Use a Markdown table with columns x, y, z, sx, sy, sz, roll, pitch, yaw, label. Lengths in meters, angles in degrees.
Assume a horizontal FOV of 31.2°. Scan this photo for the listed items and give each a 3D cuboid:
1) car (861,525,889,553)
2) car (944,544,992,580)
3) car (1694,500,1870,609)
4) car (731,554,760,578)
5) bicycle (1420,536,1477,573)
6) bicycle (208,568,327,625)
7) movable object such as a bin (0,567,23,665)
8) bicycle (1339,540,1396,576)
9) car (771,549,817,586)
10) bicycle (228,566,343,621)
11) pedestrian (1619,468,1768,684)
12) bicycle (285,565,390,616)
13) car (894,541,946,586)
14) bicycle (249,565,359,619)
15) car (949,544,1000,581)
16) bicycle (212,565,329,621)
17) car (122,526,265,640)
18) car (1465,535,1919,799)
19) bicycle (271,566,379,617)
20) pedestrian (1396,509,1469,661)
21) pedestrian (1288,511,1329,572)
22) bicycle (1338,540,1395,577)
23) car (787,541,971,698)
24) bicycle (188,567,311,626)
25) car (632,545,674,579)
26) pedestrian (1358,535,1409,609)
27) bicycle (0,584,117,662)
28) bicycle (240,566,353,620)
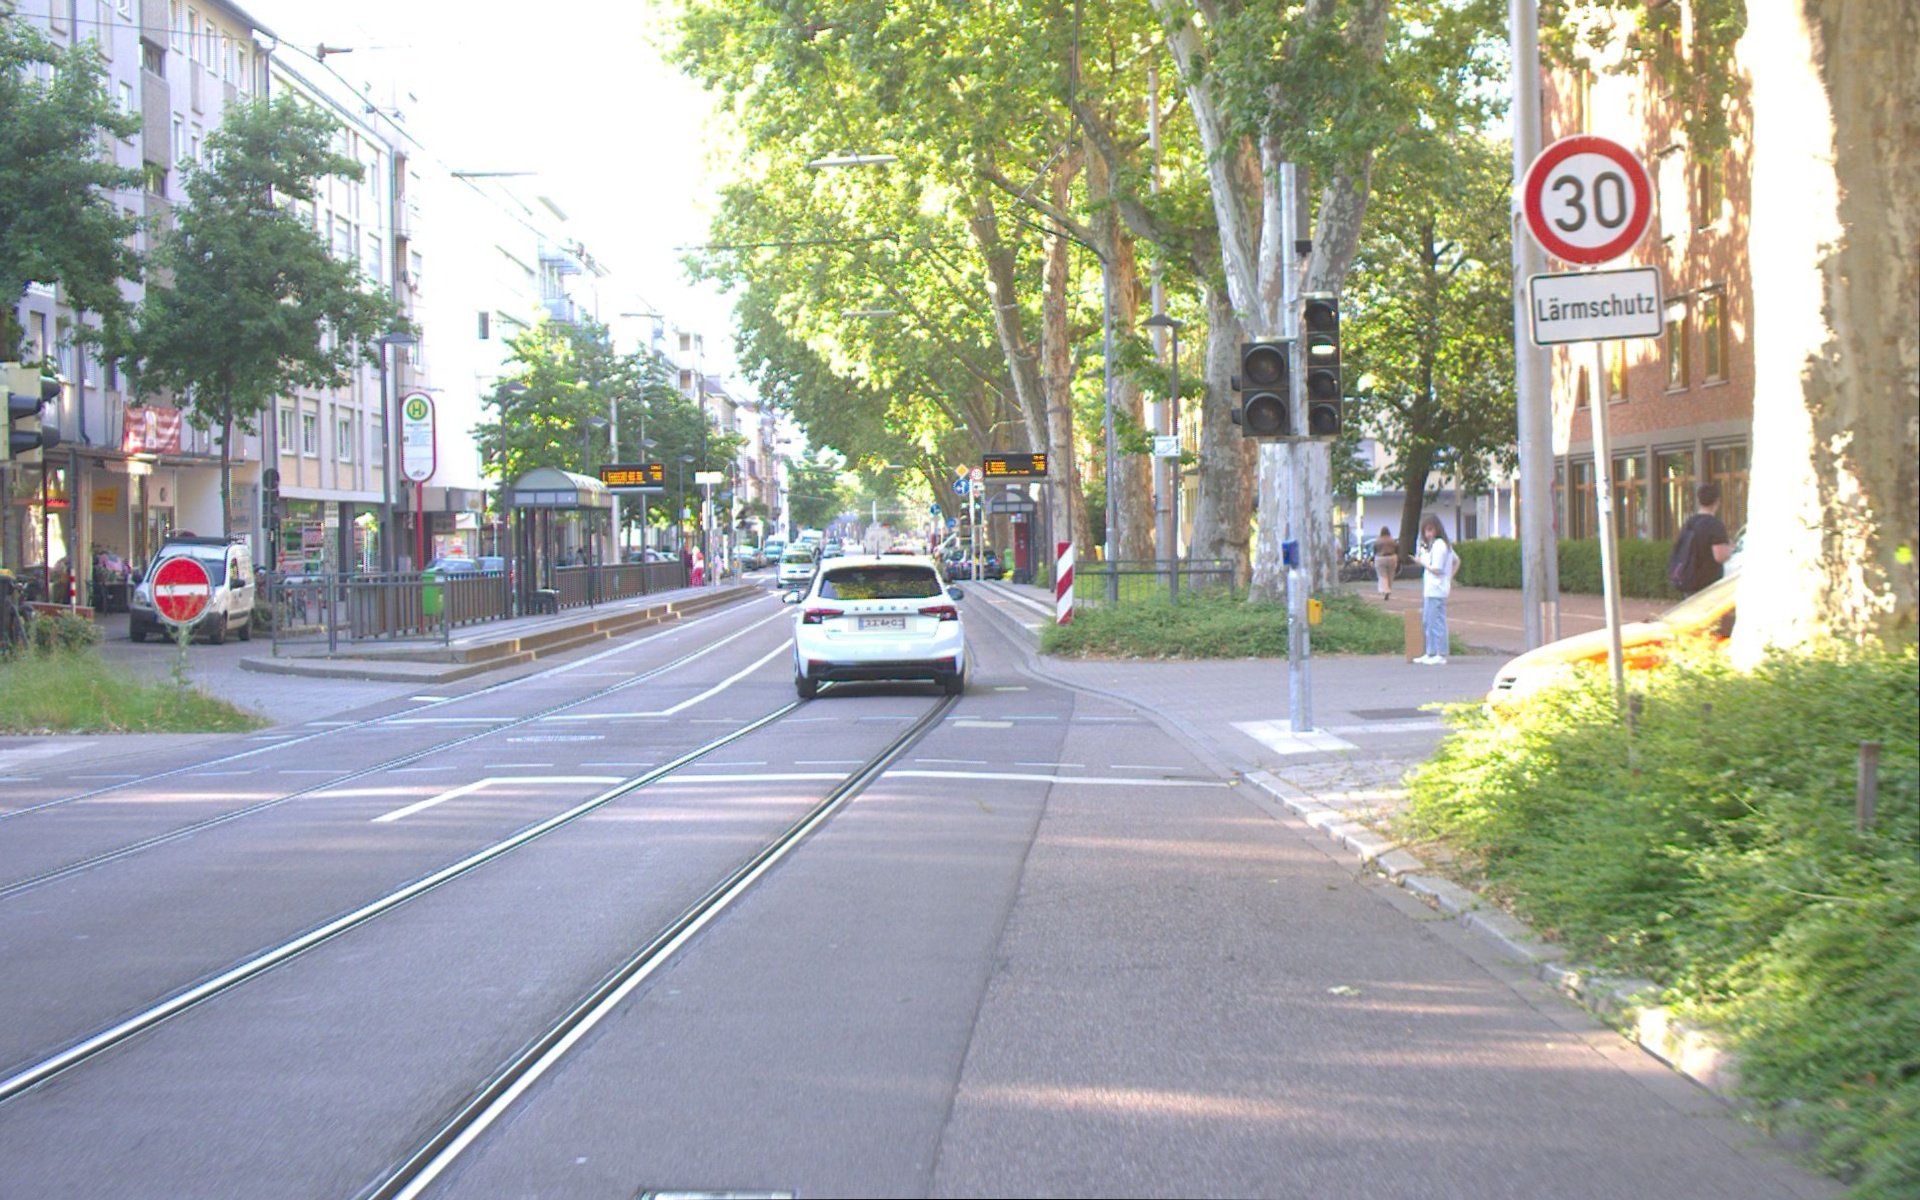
| x | y | z | sx | sy | sz | roll | pitch | yaw | label |
| --- | --- | --- | --- | --- | --- | --- | --- | --- | --- |
| -5.795 | -4.175 | 235.271 | 1.866 | 1.886 | 4.000 | -1 | 1 | -1 | car |
| 0.331 | -1.646 | 147.973 | 1.993 | 1.448 | 4.000 | -1 | 1 | -1 | car |
| 11.937 | -0.669 | 50.083 | 1.600 | 1.490 | 3.417 | -1 | 1 | -2 | car |
| -14.724 | -2.347 | 236.423 | 1.788 | 1.508 | 4.000 | -1 | 1 | -1 | car |
| 14.225 | -1.312 | 100.086 | 1.567 | 1.034 | 0.479 | -1 | 1 | 21 | bicycle |
| -13.942 | -0.079 | 69.236 | 2.253 | 1.070 | 0.636 | 2 | 1 | 1 | bicycle |
| -13.879 | 0.206 | 48.369 | 1.169 | 1.344 | 0.783 | 2 | 1 | -5 | movable object such as a bin |
| 11.968 | -1.235 | 100.905 | 1.567 | 1.034 | 0.504 | -1 | 1 | 21 | bicycle |
| -6.724 | -1.330 | 139.320 | 1.693 | 1.414 | 4.000 | -1 | 1 | -1 | car |
| -14.056 | -0.134 | 71.668 | 2.253 | 1.070 | 0.636 | 2 | 1 | 1 | bicycle |
| 6.315 | -0.212 | 29.642 | 0.994 | 1.805 | 0.864 | -2 | 1 | -6 | pedestrian |
| -14.216 | -0.225 | 78.517 | 2.253 | 1.070 | 0.636 | 2 | 1 | 1 | bicycle |
| -1.416 | -1.301 | 121.040 | 1.788 | 1.508 | 4.000 | -1 | 1 | -1 | car |
| -14.247 | -0.176 | 74.677 | 2.253 | 1.070 | 0.636 | 2 | 1 | 1 | bicycle |
| 0.597 | -1.575 | 142.889 | 1.993 | 1.448 | 4.000 | -1 | 1 | -1 | car |
| -14.231 | -0.139 | 70.994 | 2.253 | 1.070 | 0.636 | 2 | 1 | 1 | bicycle |
| -13.698 | -0.329 | 61.605 | 1.688 | 1.933 | 4.000 | -1 | 1 | -1 | car |
| 5.030 | 0.351 | 20.225 | 3.885 | 1.418 | 1.648 | -2 | 1 | 3 | car |
| -14.130 | -0.192 | 76.509 | 2.253 | 1.070 | 0.636 | 2 | 1 | 1 | bicycle |
| 5.265 | -0.175 | 38.346 | 0.652 | 1.663 | 0.738 | -2 | 1 | -1 | pedestrian |
| 9.508 | -1.593 | 93.796 | 0.972 | 1.618 | 0.887 | -1 | 1 | -1 | pedestrian |
| 11.816 | -1.218 | 99.988 | 1.567 | 1.034 | 0.479 | -1 | 1 | 21 | bicycle |
| -0.833 | 0.158 | 36.105 | 1.788 | 1.508 | 4.000 | -1 | 1 | -1 | car |
| -13.961 | -0.066 | 67.588 | 2.253 | 1.070 | 0.636 | 2 | 1 | 1 | bicycle |
| -14.303 | -1.785 | 160.398 | 1.678 | 1.543 | 4.000 | 1 | 1 | -1 | car |
| 9.489 | -0.626 | 77.057 | 0.972 | 1.618 | 0.887 | -1 | 1 | -1 | pedestrian |
| -13.259 | 0.332 | 50.448 | 1.533 | 1.071 | 0.885 | 2 | 1 | -1 | bicycle |
| -14.067 | -0.153 | 72.932 | 2.253 | 1.070 | 0.636 | 2 | 1 | 1 | bicycle |
